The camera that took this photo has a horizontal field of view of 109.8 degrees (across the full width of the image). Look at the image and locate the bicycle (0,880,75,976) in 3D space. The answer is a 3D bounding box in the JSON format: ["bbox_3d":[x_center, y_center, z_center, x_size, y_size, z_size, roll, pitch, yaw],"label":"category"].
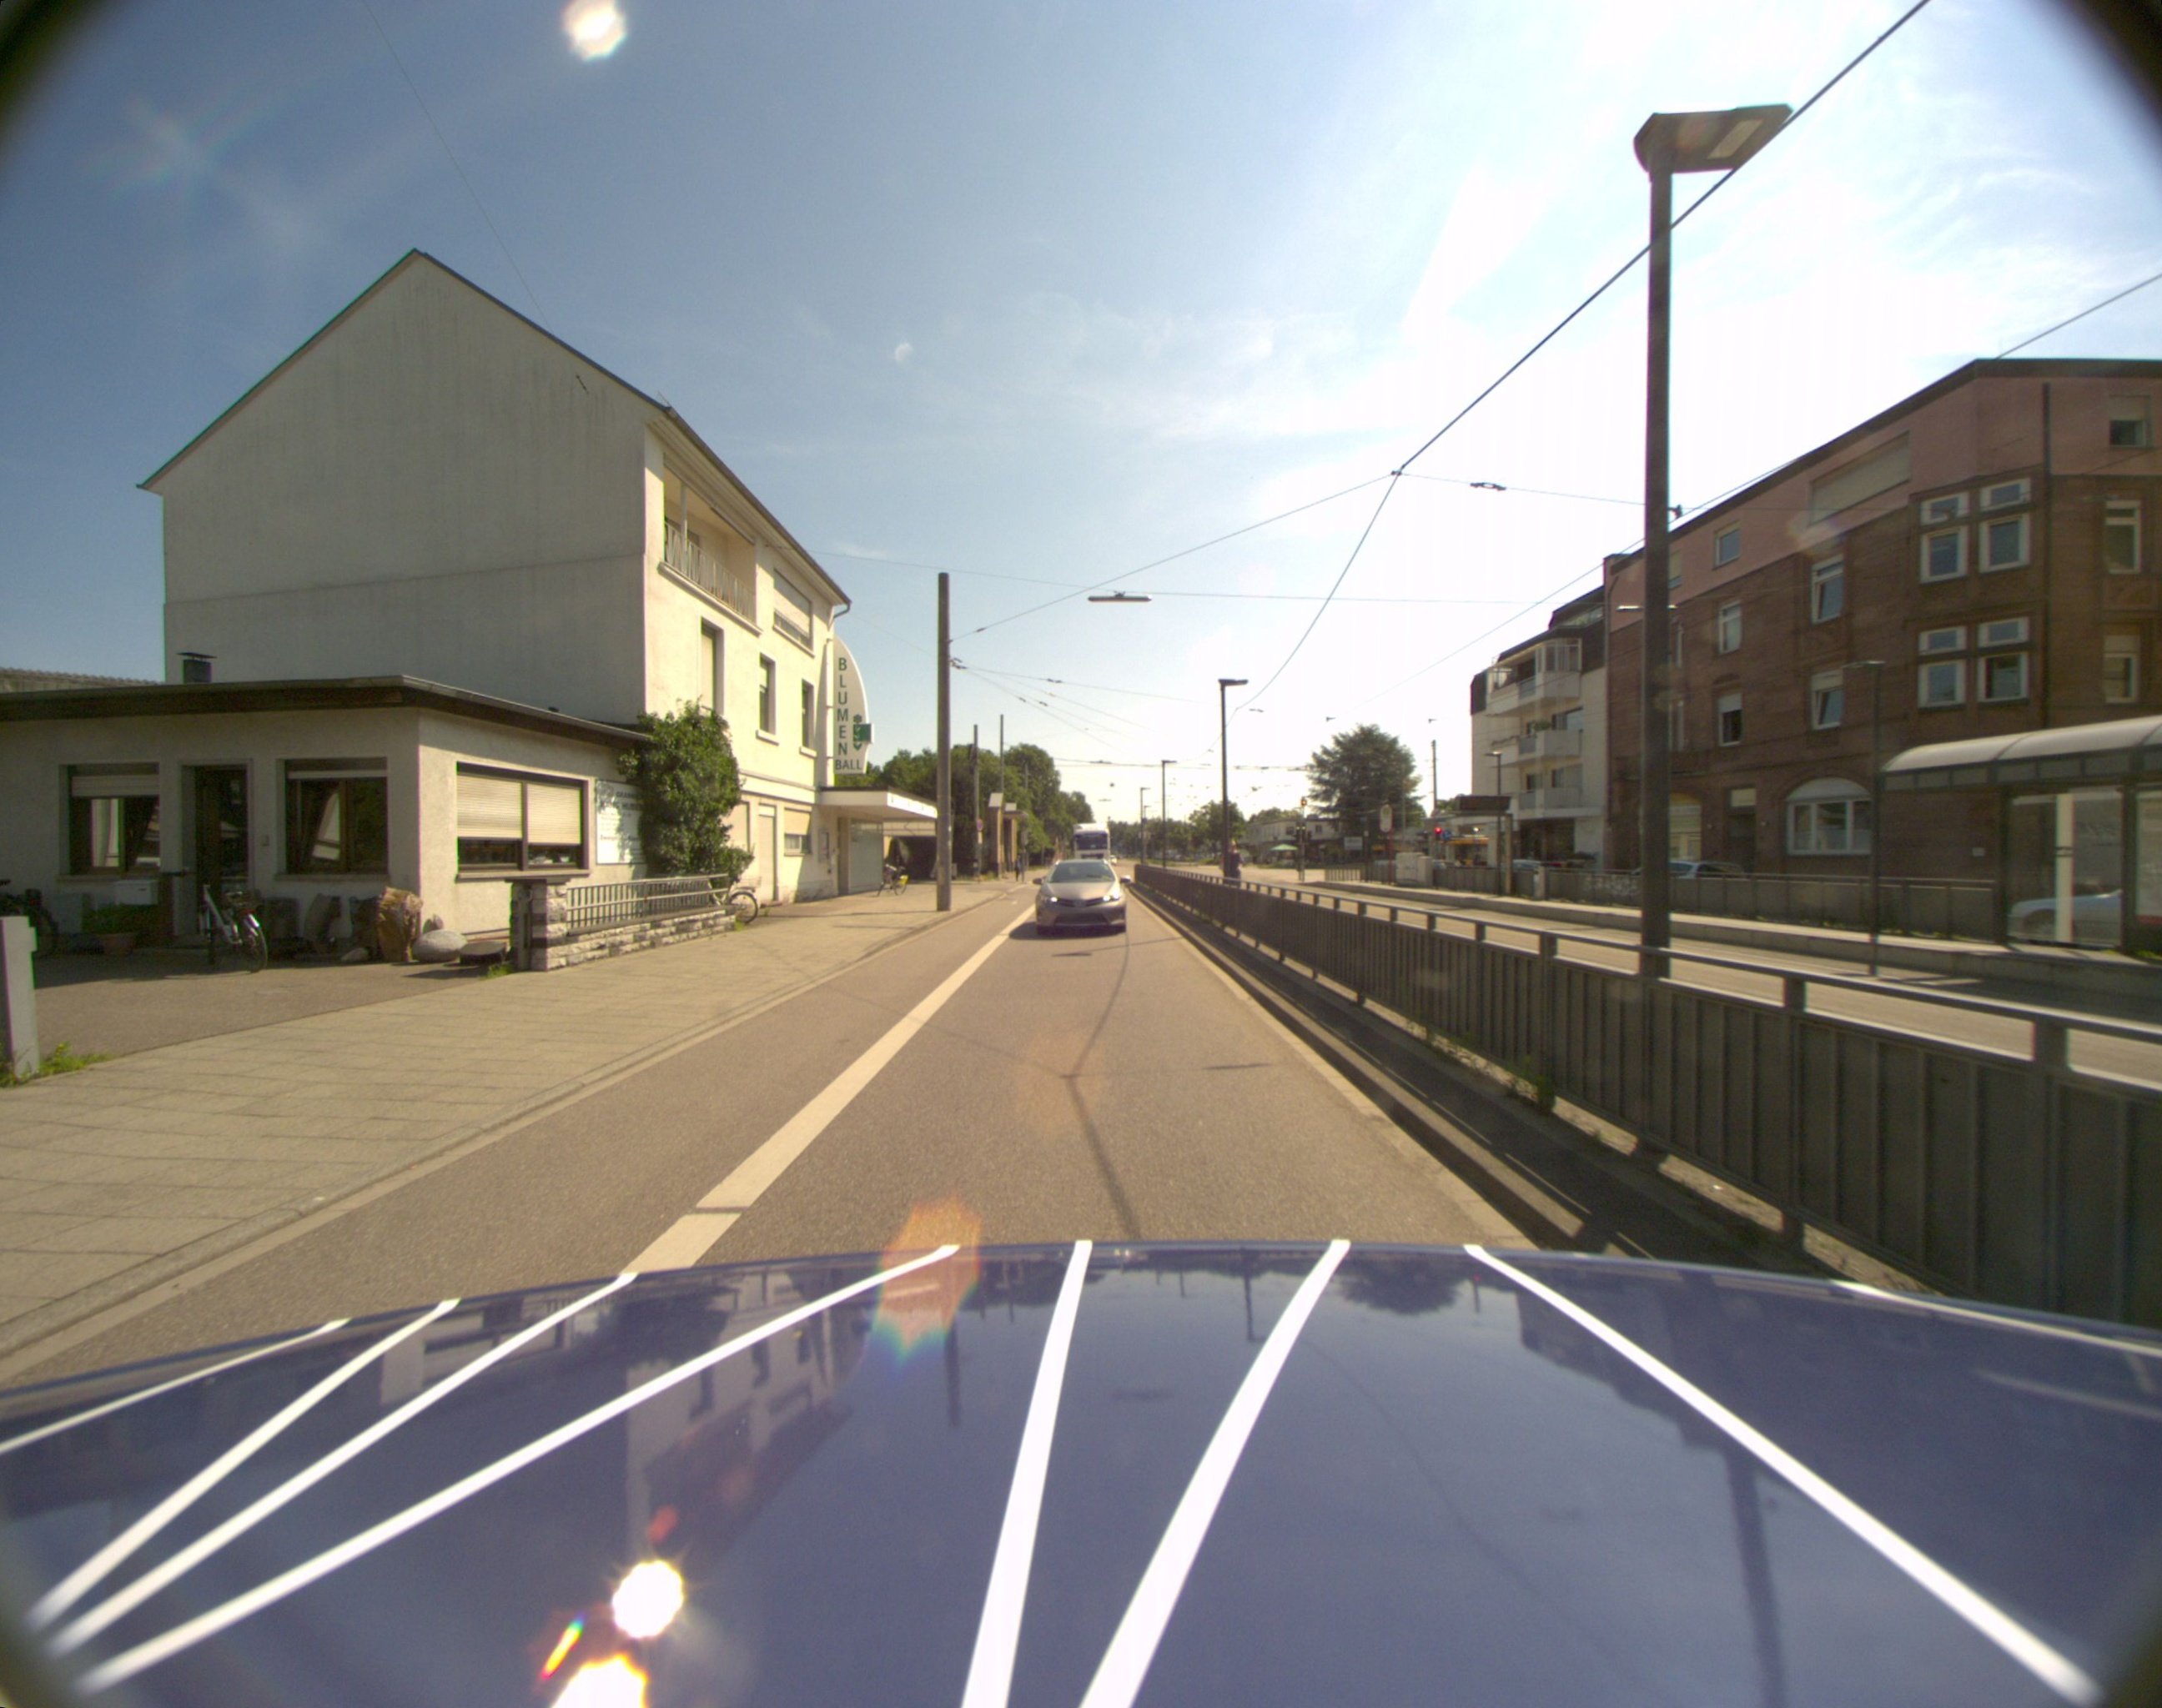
[{"bbox_3d":[-13.360,0.876,9.215,1.689,1.104,0.512,1,0,2],"label":"bicycle"}]

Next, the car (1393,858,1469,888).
[{"bbox_3d":[16.447,0.841,35.905,1.716,1.236,4.078,-2,0,0],"label":"car"}]

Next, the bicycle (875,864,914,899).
[{"bbox_3d":[-6.549,0.947,26.721,0.511,1.127,1.693,0,0,18],"label":"bicycle"}]

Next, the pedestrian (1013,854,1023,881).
[{"bbox_3d":[-3.813,0.789,46.121,0.499,1.617,0.500,2,1,8],"label":"pedestrian"}]

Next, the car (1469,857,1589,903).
[{"bbox_3d":[16.218,0.898,27.830,1.716,1.507,4.473,-2,0,0],"label":"car"}]

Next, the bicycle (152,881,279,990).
[{"bbox_3d":[-9.923,0.890,8.703,1.686,1.104,0.515,1,0,25],"label":"bicycle"}]

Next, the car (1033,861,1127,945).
[{"bbox_3d":[0.012,0.923,16.131,1.695,1.440,4.481,-1,0,1],"label":"car"}]

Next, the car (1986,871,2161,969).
[{"bbox_3d":[16.414,0.988,10.829,1.635,1.355,4.520,0,1,0],"label":"car"}]

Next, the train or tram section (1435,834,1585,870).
[{"bbox_3d":[42.781,-0.198,76.048,13.325,3.460,2.689,0,1,3],"label":"train or tram section"}]

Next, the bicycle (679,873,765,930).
[{"bbox_3d":[-7.322,0.961,15.525,1.530,1.051,0.398,3,1,2],"label":"bicycle"}]

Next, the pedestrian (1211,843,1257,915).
[{"bbox_3d":[4.029,0.642,20.067,0.983,1.848,1.237,0,1,1],"label":"pedestrian"}]

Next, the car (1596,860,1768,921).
[{"bbox_3d":[16.115,0.915,20.646,1.630,1.460,3.865,-1,0,1],"label":"car"}]

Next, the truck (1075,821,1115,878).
[{"bbox_3d":[0.974,-0.316,54.654,2.657,3.772,7.863,0,0,1],"label":"truck"}]
